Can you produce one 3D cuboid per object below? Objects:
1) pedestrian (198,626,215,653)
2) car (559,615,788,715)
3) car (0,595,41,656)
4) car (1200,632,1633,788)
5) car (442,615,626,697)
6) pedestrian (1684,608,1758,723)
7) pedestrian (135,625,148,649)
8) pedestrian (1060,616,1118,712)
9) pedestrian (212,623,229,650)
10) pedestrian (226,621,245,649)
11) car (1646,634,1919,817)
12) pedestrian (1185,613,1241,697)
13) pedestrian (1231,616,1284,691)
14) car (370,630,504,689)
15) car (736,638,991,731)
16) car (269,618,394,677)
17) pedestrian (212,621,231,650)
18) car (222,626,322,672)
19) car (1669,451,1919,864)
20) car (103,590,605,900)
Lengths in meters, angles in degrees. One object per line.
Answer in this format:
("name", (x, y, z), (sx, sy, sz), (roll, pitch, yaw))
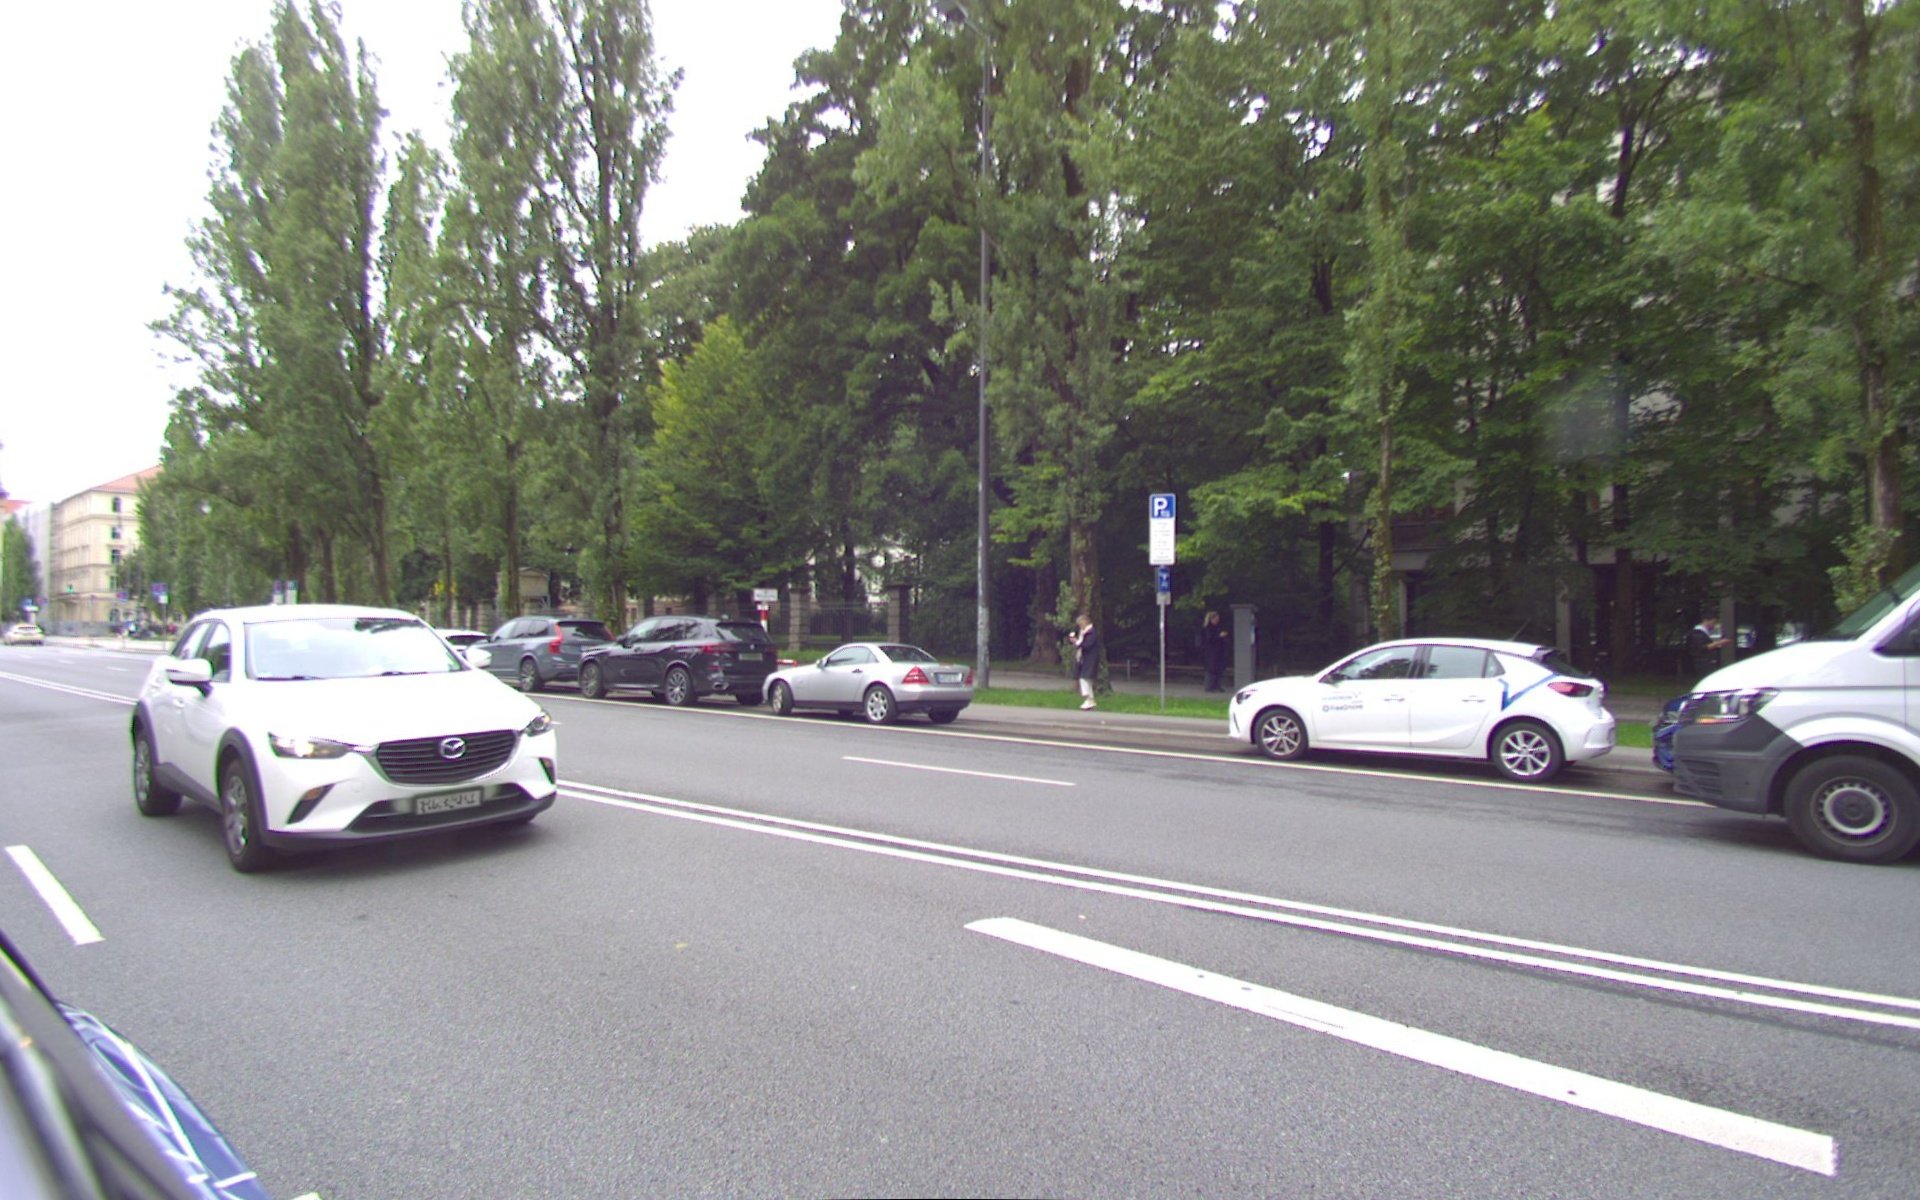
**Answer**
("pedestrian", (-48.412, 2.516, 65.022), (0.885, 1.713, 0.681), (-2, -2, 39))
("car", (-5.844, 1.266, 20.375), (4.890, 1.781, 1.922), (-1, -5, 39))
("car", (-65.153, 1.747, 70.047), (4.499, 1.333, 1.779), (47, 12, 34))
("car", (5.090, 1.139, 11.606), (4.229, 1.463, 1.753), (-1, -4, 39))
("car", (-10.369, 1.326, 24.434), (5.175, 1.803, 1.890), (-1, -5, 40))
("pedestrian", (12.332, 1.031, 16.408), (0.889, 1.785, 0.729), (-1, -1, 41))
("pedestrian", (-59.450, 2.704, 73.466), (0.581, 1.744, 0.527), (-1, -2, 29))
("pedestrian", (2.313, 1.129, 18.114), (0.751, 1.677, 0.730), (-2, -3, 41))
("pedestrian", (-47.910, 2.333, 65.532), (0.910, 1.729, 0.653), (-2, -2, 40))
("pedestrian", (-45.975, 2.221, 64.216), (1.092, 1.786, 0.702), (-1, -2, 39))
("car", (8.238, 1.063, 8.845), (3.582, 1.462, 1.692), (-1, -4, 39))
("pedestrian", (5.425, 1.169, 21.710), (0.956, 1.755, 0.659), (-2, -2, 41))
("pedestrian", (6.593, 1.174, 22.443), (0.881, 1.611, 0.729), (-1, -1, 41))
("car", (-14.292, 1.595, 27.551), (4.269, 1.470, 1.687), (-1, -4, 40))
("car", (-1.702, 1.354, 17.052), (4.230, 1.344, 1.808), (-1, -4, 40))
("car", (-20.675, 1.543, 33.218), (4.796, 1.800, 2.025), (-1, -4, 40))
("pedestrian", (-46.430, 2.221, 63.630), (1.092, 1.847, 0.702), (-1, -2, 39))
("car", (-25.447, 1.808, 37.367), (4.386, 1.596, 1.924), (-2, -4, 41))
("car", (8.166, 0.354, 5.629), (6.751, 2.502, 2.205), (-1, -4, 40))
("car", (-4.385, 0.782, 7.077), (4.007, 1.537, 1.885), (-2, -2, 41))
